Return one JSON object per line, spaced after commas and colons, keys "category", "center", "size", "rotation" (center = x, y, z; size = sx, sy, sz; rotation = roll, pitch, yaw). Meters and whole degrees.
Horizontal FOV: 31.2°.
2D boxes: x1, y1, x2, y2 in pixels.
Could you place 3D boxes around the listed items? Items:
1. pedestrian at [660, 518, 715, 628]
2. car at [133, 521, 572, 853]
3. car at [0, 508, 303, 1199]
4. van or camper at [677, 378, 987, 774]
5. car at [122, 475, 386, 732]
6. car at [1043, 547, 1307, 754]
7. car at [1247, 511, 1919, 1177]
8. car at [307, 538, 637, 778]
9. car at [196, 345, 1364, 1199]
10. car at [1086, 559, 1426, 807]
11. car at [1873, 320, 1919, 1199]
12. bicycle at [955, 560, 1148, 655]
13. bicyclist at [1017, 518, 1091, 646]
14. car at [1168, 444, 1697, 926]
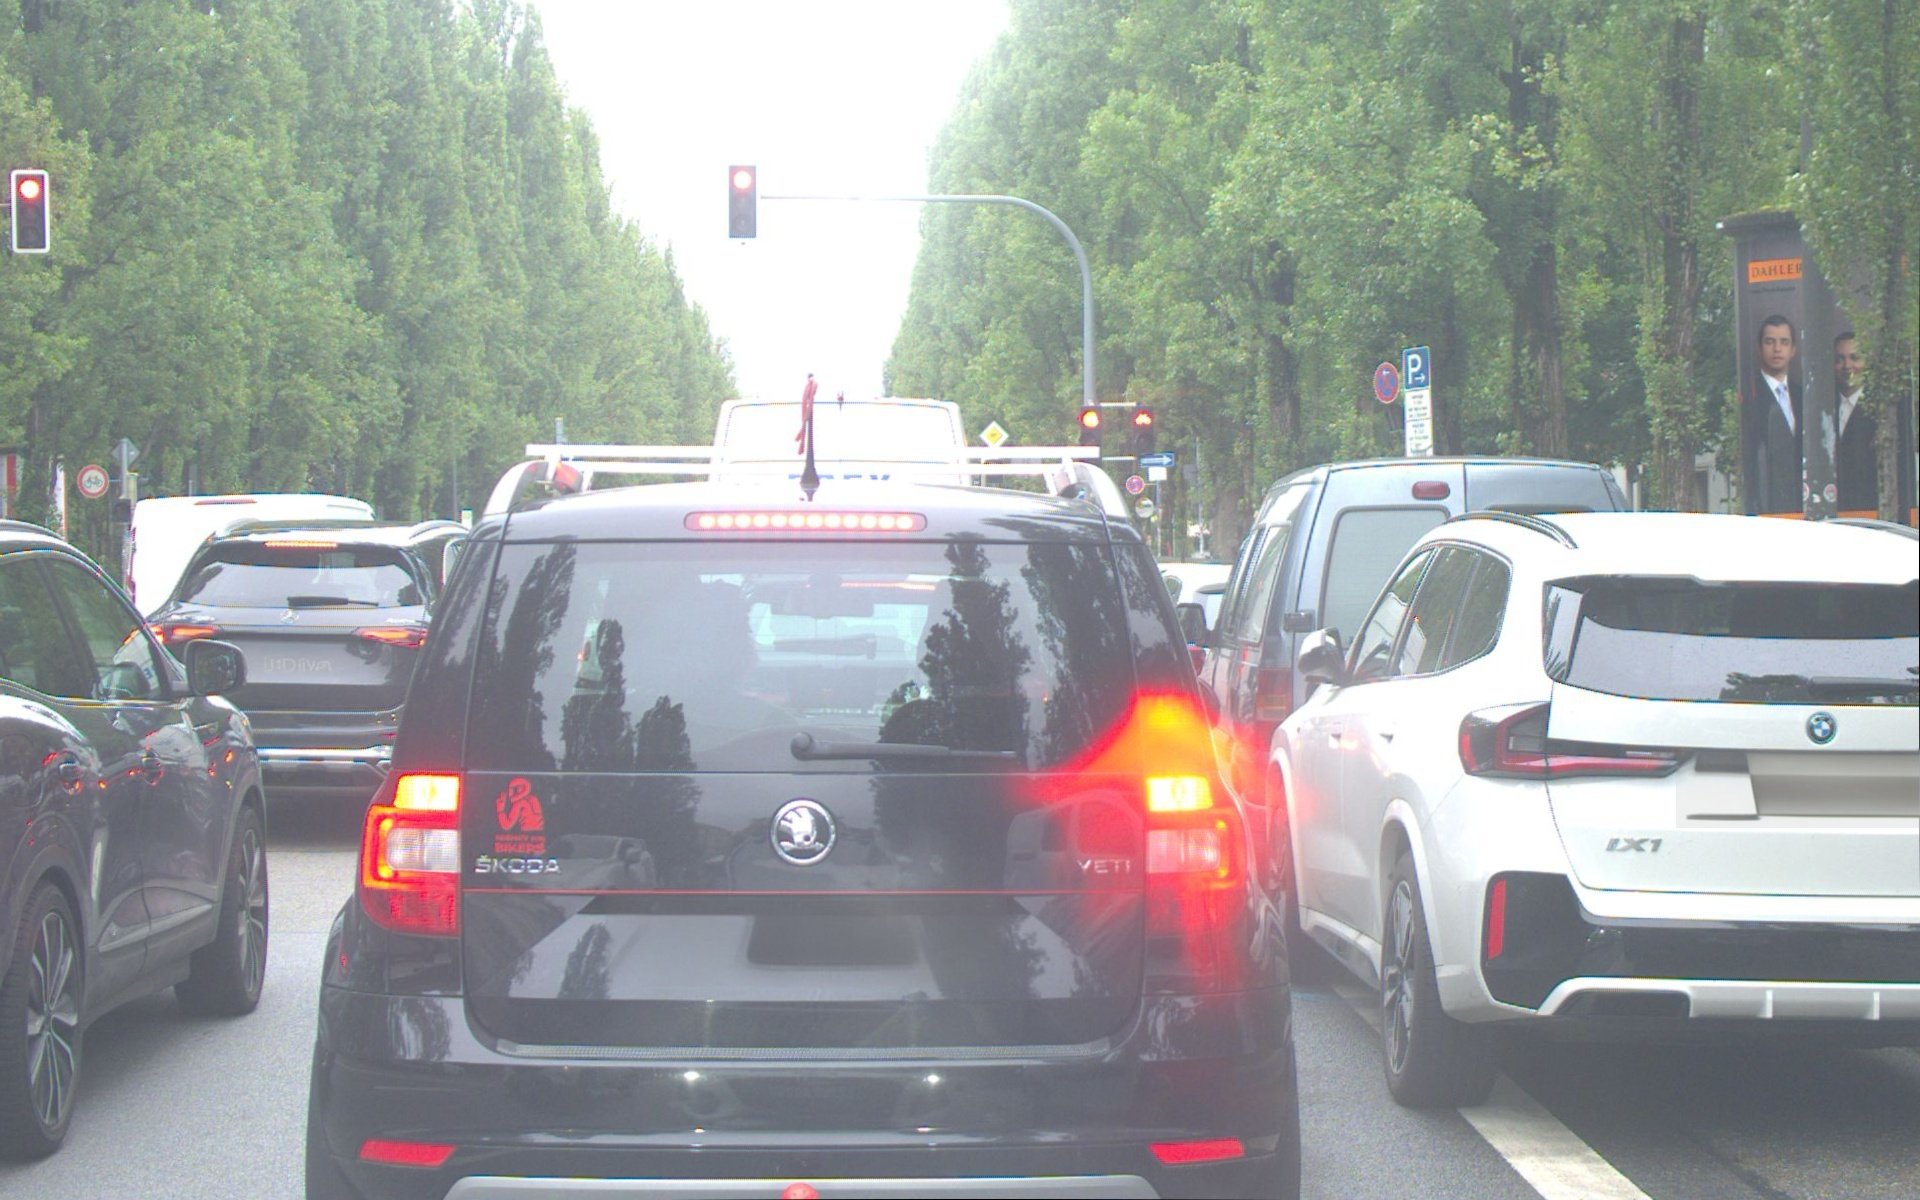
{"category": "pedestrian", "center": [-5.074, -0.509, 64.130], "size": [0.885, 2.007, 1.013], "rotation": [-1, 1, 2]}
{"category": "car", "center": [-3.189, 0.377, 18.786], "size": [1.781, 1.614, 4.025], "rotation": [0, 1, -2]}
{"category": "car", "center": [-3.105, 0.546, 9.463], "size": [1.835, 1.580, 4.186], "rotation": [0, 1, -1]}
{"category": "van or camper", "center": [-0.940, -0.200, 24.332], "size": [1.975, 2.539, 4.025], "rotation": [-1, 1, -3]}
{"category": "car", "center": [-6.214, -0.002, 30.664], "size": [1.781, 2.104, 4.025], "rotation": [-1, 1, -4]}
{"category": "car", "center": [1.623, 0.344, 27.030], "size": [1.735, 1.470, 3.563], "rotation": [-1, 1, -2]}
{"category": "car", "center": [1.973, 0.537, 10.382], "size": [1.741, 1.587, 4.212], "rotation": [-1, 1, -1]}
{"category": "car", "center": [-3.491, 0.359, 25.297], "size": [1.993, 1.555, 4.001], "rotation": [-1, 2, -2]}
{"category": "car", "center": [-0.338, 0.457, 7.552], "size": [1.855, 1.764, 4.000], "rotation": [1, 1, -1]}
{"category": "car", "center": [1.783, 0.460, 21.731], "size": [1.735, 1.382, 3.563], "rotation": [-1, 1, -2]}
{"category": "car", "center": [2.439, 0.550, 3.311], "size": [1.851, 1.875, 4.169], "rotation": [-1, 1, -2]}
{"category": "bicycle", "center": [1.243, 0.099, 46.982], "size": [2.535, 1.233, 0.813], "rotation": [-1, 1, -5]}
{"category": "bicyclist", "center": [1.282, -0.255, 46.972], "size": [0.905, 1.716, 0.825], "rotation": [-1, 1, -4]}
{"category": "car", "center": [1.999, 0.293, 15.654], "size": [1.735, 1.889, 4.025], "rotation": [-1, 1, -2]}
